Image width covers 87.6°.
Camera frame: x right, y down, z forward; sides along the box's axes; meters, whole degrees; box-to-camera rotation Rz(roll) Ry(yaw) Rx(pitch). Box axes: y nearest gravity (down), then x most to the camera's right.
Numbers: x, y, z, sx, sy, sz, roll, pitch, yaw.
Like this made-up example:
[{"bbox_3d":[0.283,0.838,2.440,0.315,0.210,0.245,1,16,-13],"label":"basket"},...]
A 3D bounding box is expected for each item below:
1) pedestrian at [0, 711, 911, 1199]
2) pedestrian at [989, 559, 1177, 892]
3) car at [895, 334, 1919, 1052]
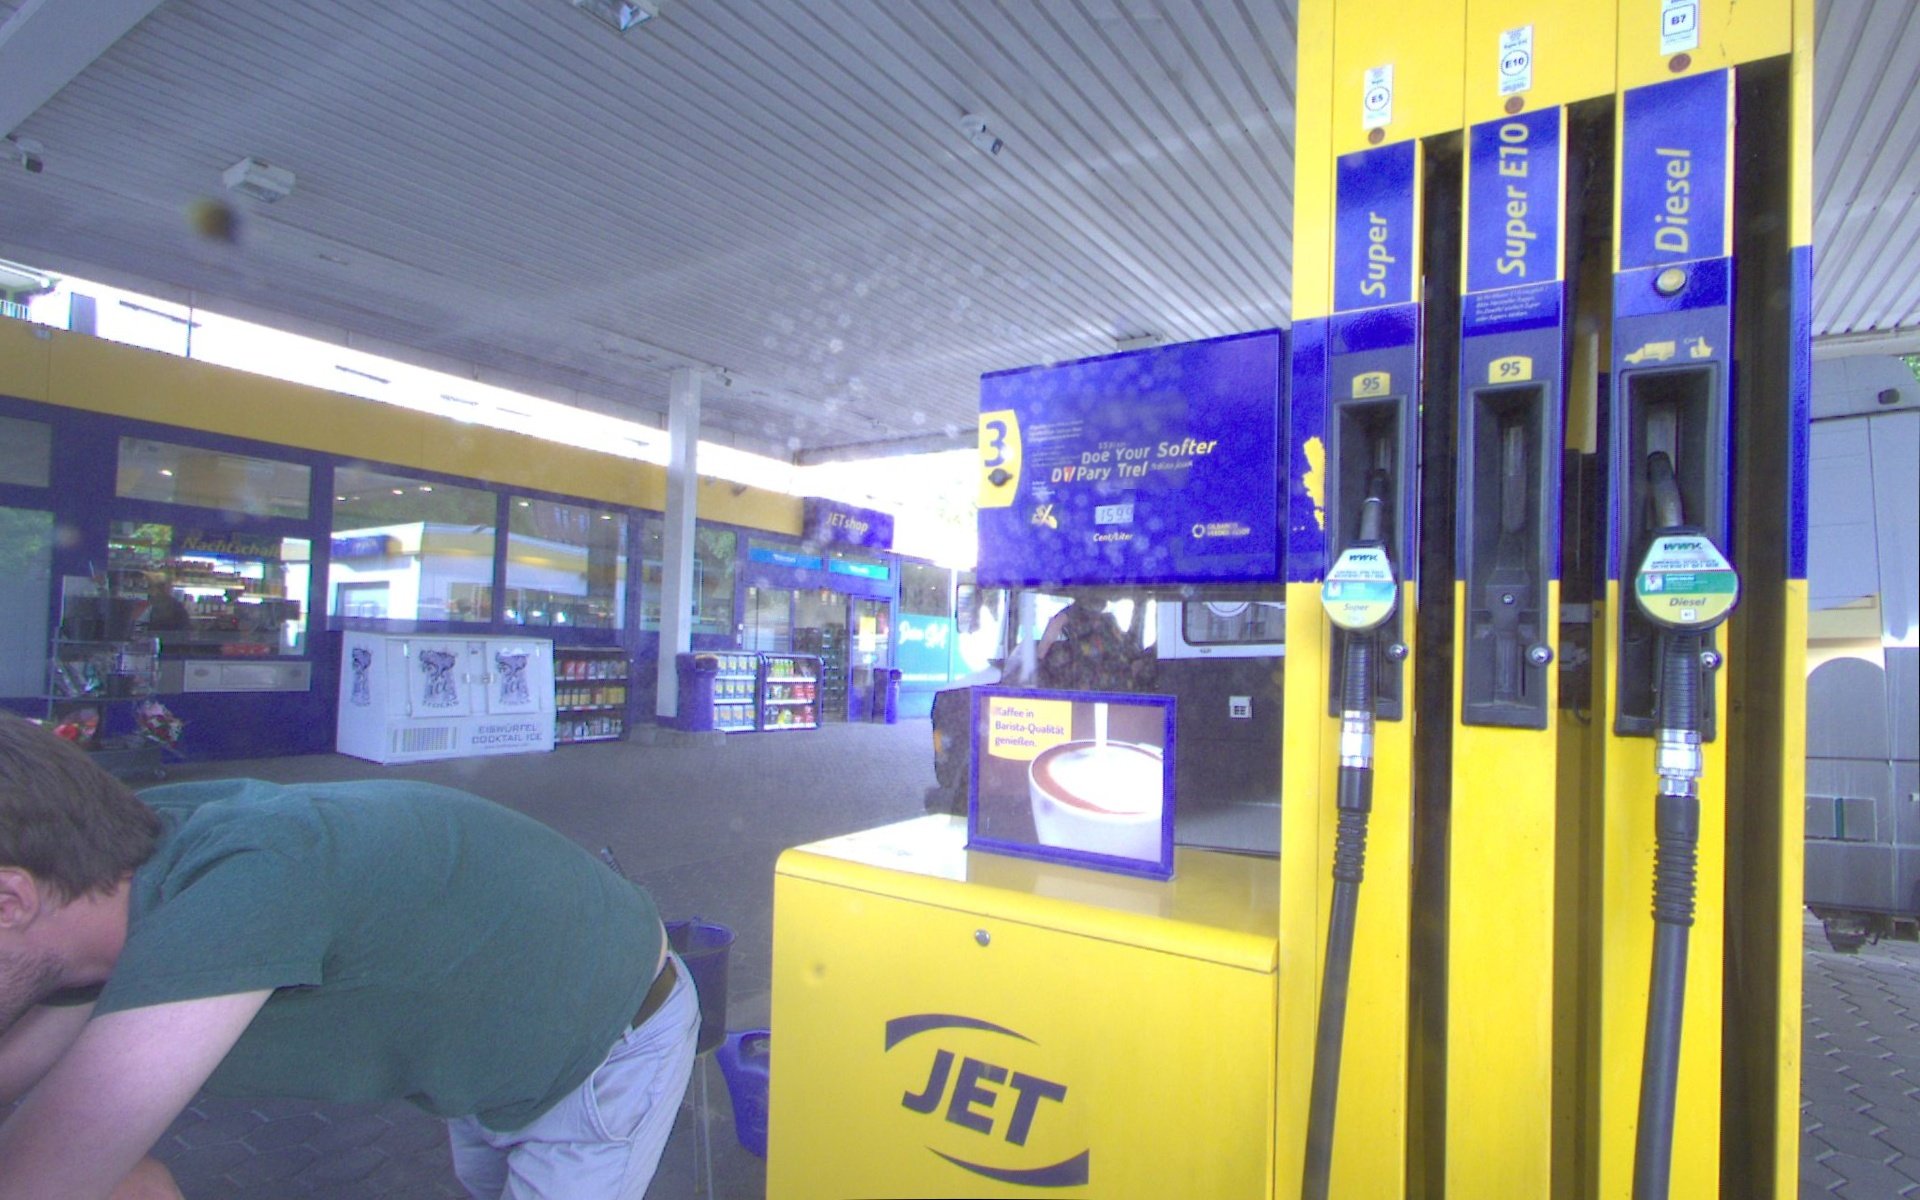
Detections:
[{"bbox_3d":[-0.533,0.806,1.072,0.664,1.298,0.749,-1,-1,31],"label":"pedestrian"},{"bbox_3d":[0.674,0.690,5.870,0.961,1.785,0.981,0,-1,-1],"label":"pedestrian"},{"bbox_3d":[2.390,0.411,6.017,5.219,2.724,2.250,0,-3,34],"label":"car"}]
